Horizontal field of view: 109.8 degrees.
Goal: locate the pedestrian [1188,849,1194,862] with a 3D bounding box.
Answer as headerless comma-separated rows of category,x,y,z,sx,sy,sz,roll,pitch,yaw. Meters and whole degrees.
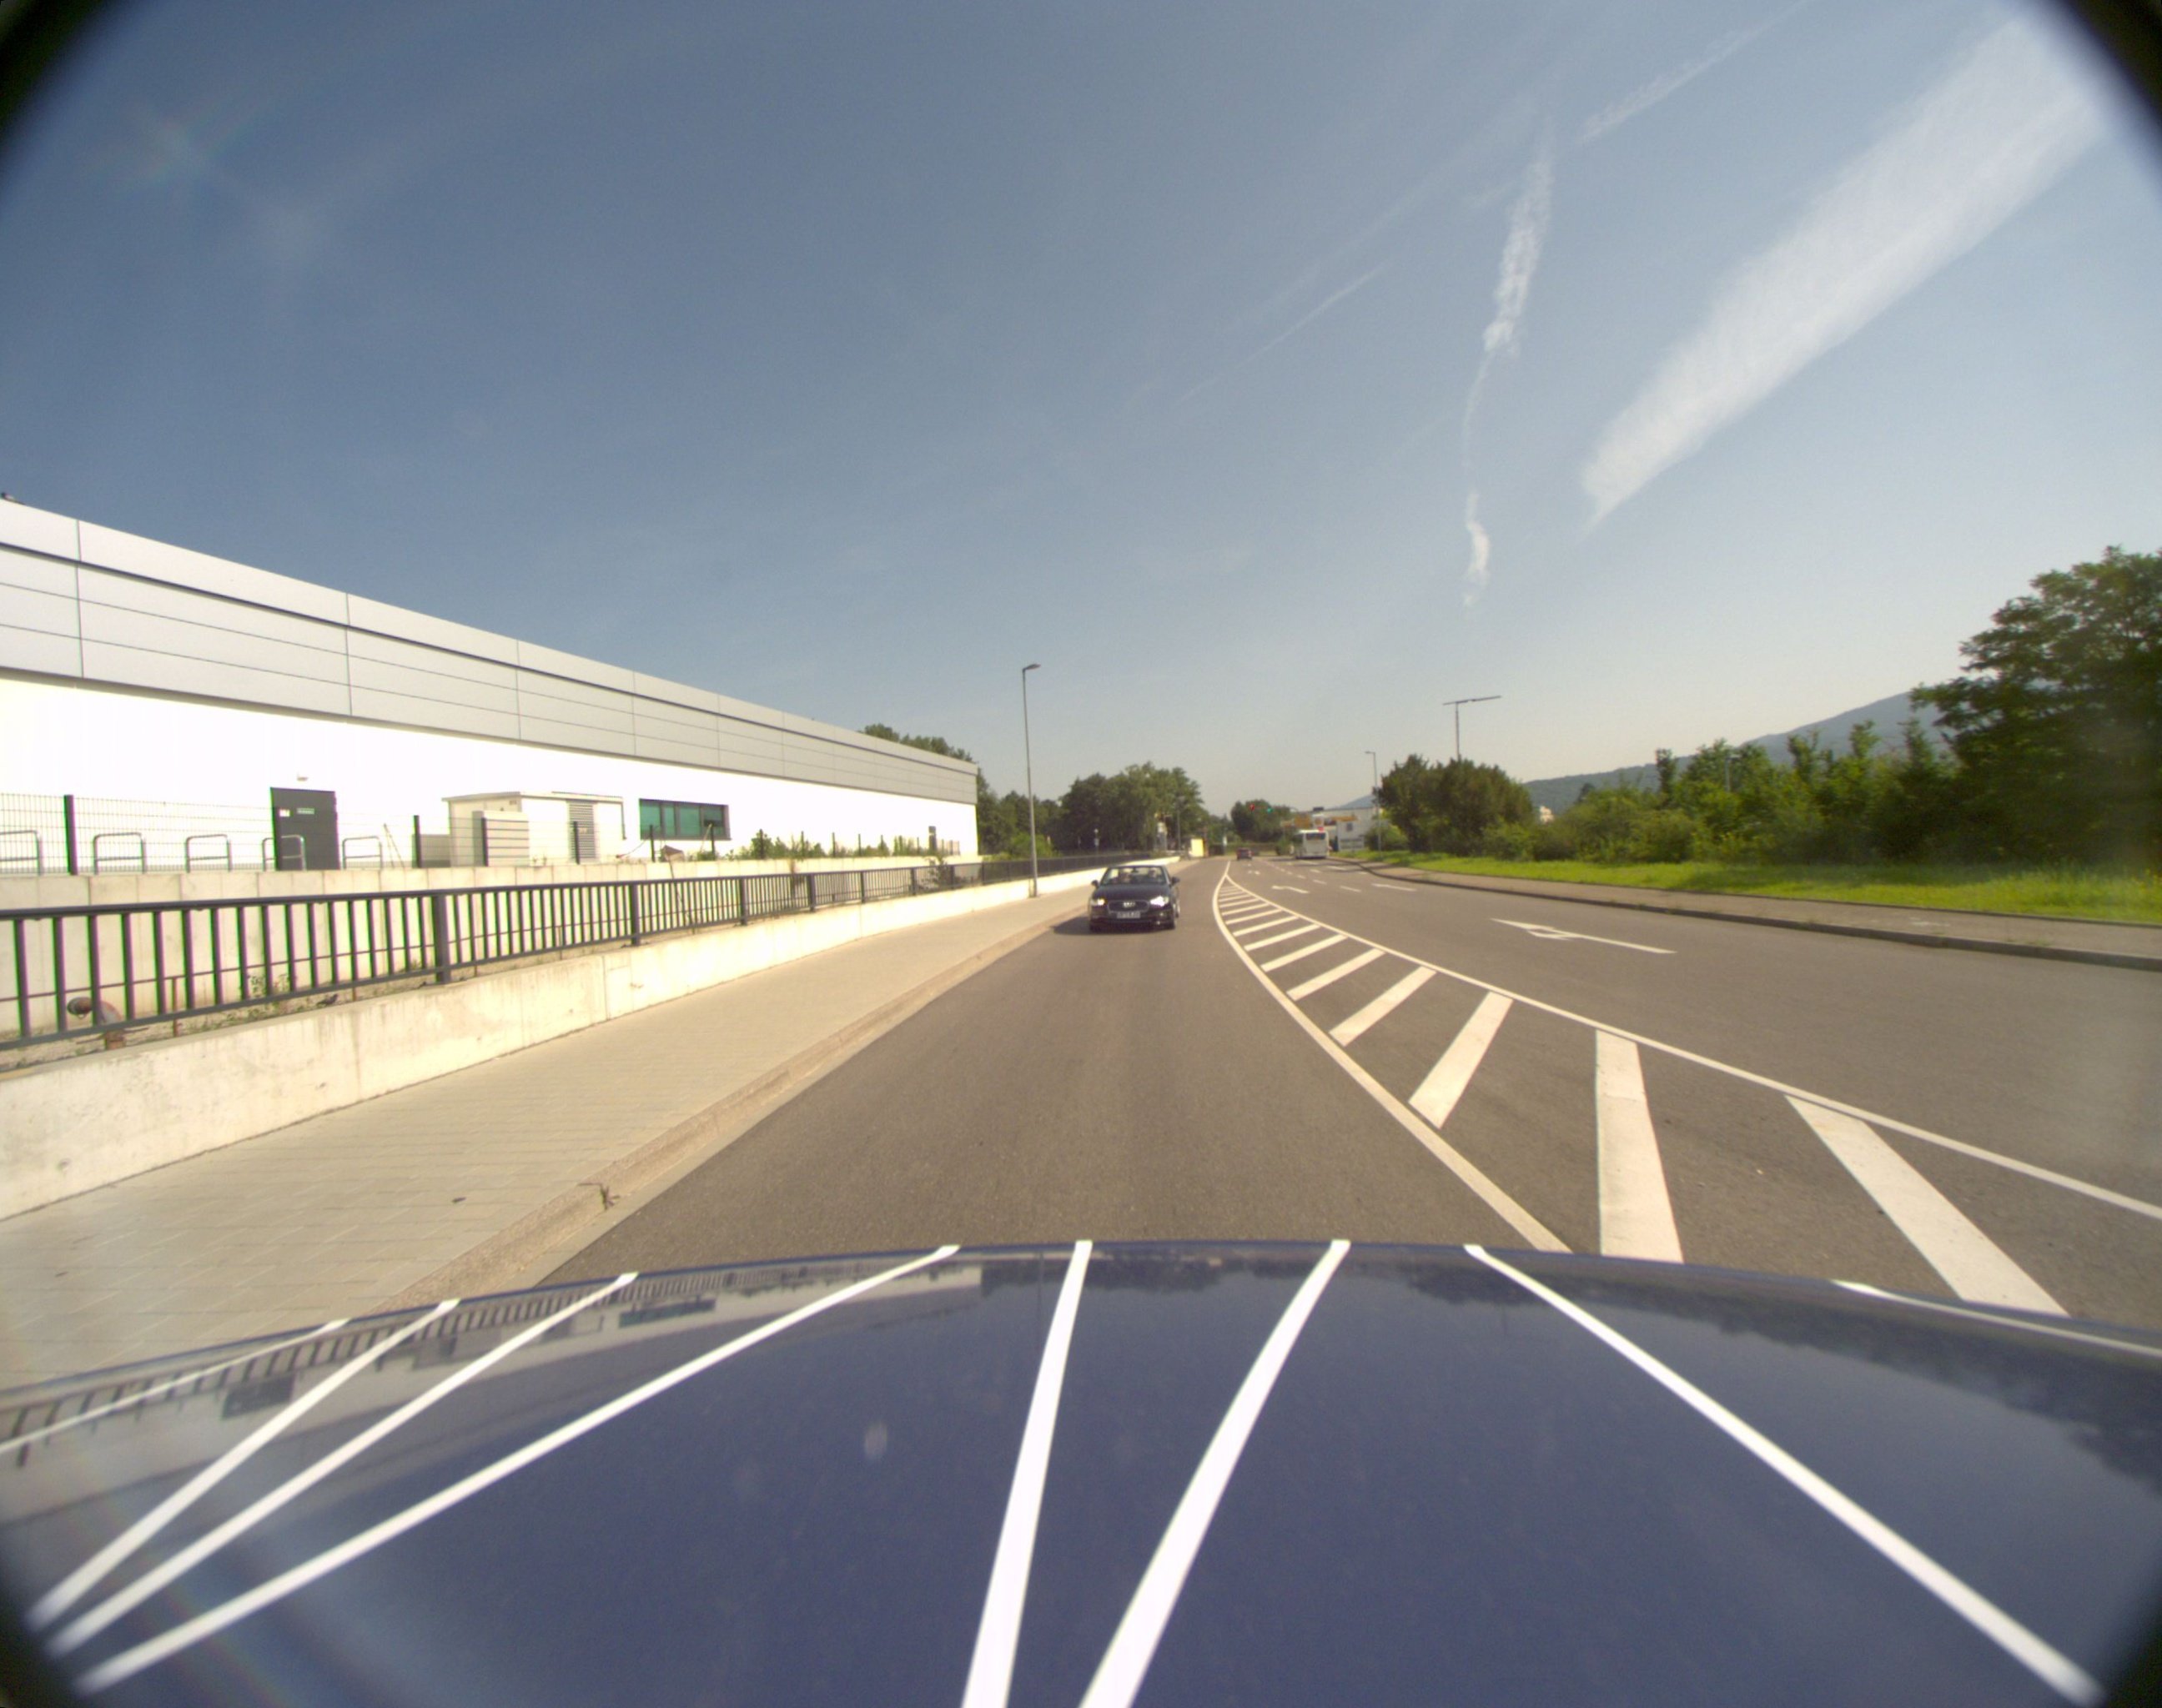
pedestrian,14.286,0.197,98.665,0.712,1.661,0.593,-2,1,5

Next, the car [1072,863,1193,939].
car,1.293,0.954,16.947,1.867,1.323,4.236,-3,0,14

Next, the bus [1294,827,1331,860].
bus,25.526,-1.208,84.388,2.625,3.291,11.965,-2,1,11

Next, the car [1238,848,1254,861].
car,19.707,0.018,91.009,1.775,1.464,4.223,-2,1,12
